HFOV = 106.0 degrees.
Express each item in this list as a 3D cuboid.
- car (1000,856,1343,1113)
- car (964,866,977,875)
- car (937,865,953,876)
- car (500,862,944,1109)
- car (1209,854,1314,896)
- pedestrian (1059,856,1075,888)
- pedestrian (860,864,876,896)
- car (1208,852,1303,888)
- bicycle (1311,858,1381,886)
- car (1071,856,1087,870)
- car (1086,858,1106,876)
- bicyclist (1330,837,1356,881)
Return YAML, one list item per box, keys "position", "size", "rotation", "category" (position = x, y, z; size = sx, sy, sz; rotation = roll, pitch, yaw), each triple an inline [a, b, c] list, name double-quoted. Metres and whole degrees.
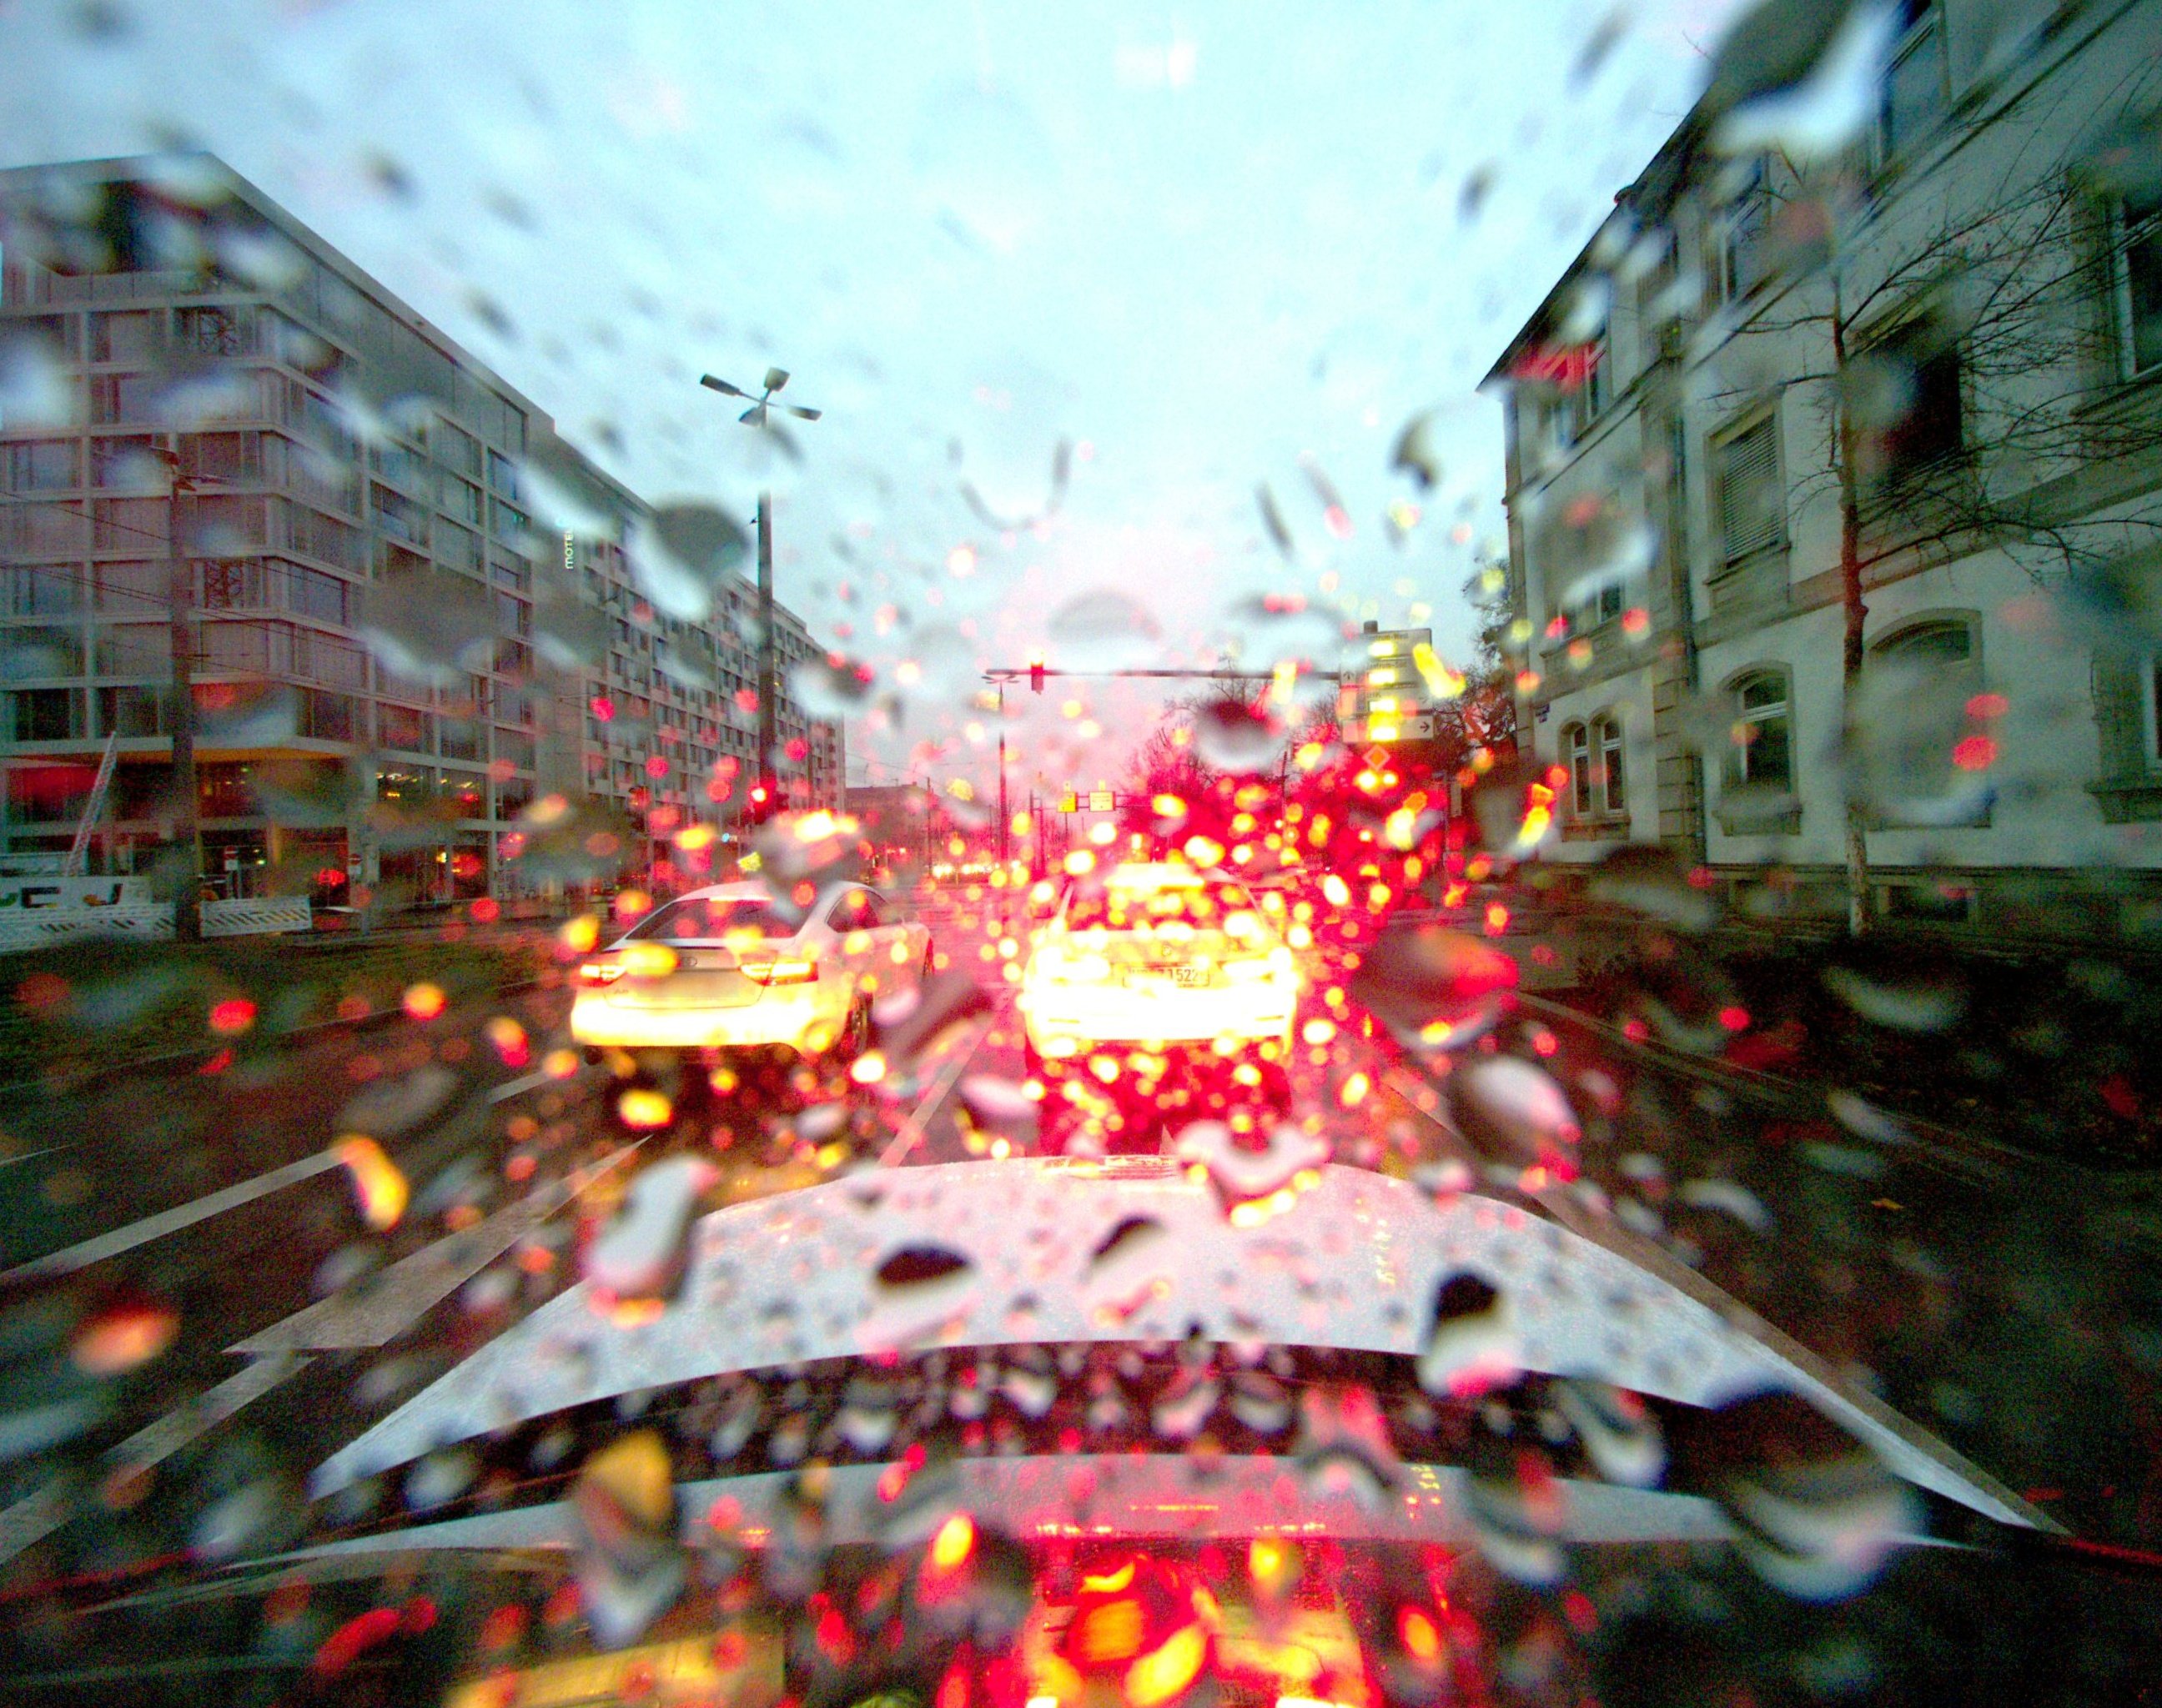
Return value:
- position: [0.532, 0.763, 6.940]
  size: [1.987, 1.456, 4.367]
  rotation: [-1, 0, 0]
  category: "car"
- position: [-18.610, 2.719, 137.229]
  size: [1.669, 1.508, 3.697]
  rotation: [0, -1, 1]
  category: "car"
- position: [-19.529, 2.363, 116.955]
  size: [1.669, 1.508, 3.697]
  rotation: [0, -1, 1]
  category: "car"
- position: [-2.590, 0.831, 7.233]
  size: [1.987, 1.456, 4.367]
  rotation: [-1, 0, 0]
  category: "car"
- position: [6.582, 0.753, 29.794]
  size: [3.662, 1.478, 1.634]
  rotation: [0, -1, 13]
  category: "car"
- position: [-0.816, 1.028, 46.974]
  size: [0.901, 1.856, 0.811]
  rotation: [0, -1, -6]
  category: "pedestrian"
- position: [-11.716, 1.419, 44.785]
  size: [0.791, 1.712, 0.809]
  rotation: [0, -1, -13]
  category: "pedestrian"
- position: [7.872, 0.711, 36.794]
  size: [3.920, 1.554, 1.758]
  rotation: [0, -1, 22]
  category: "car"
- position: [10.641, 0.728, 32.839]
  size: [2.647, 1.089, 0.818]
  rotation: [0, -1, 15]
  category: "bicycle"
- position: [-0.253, 1.149, 102.834]
  size: [1.836, 1.609, 3.945]
  rotation: [0, -1, 1]
  category: "car"
- position: [1.401, 1.230, 76.368]
  size: [1.836, 1.609, 3.945]
  rotation: [0, -1, 1]
  category: "car"
- position: [10.565, 0.211, 32.877]
  size: [0.965, 1.759, 0.816]
  rotation: [0, -1, 15]
  category: "bicyclist"
